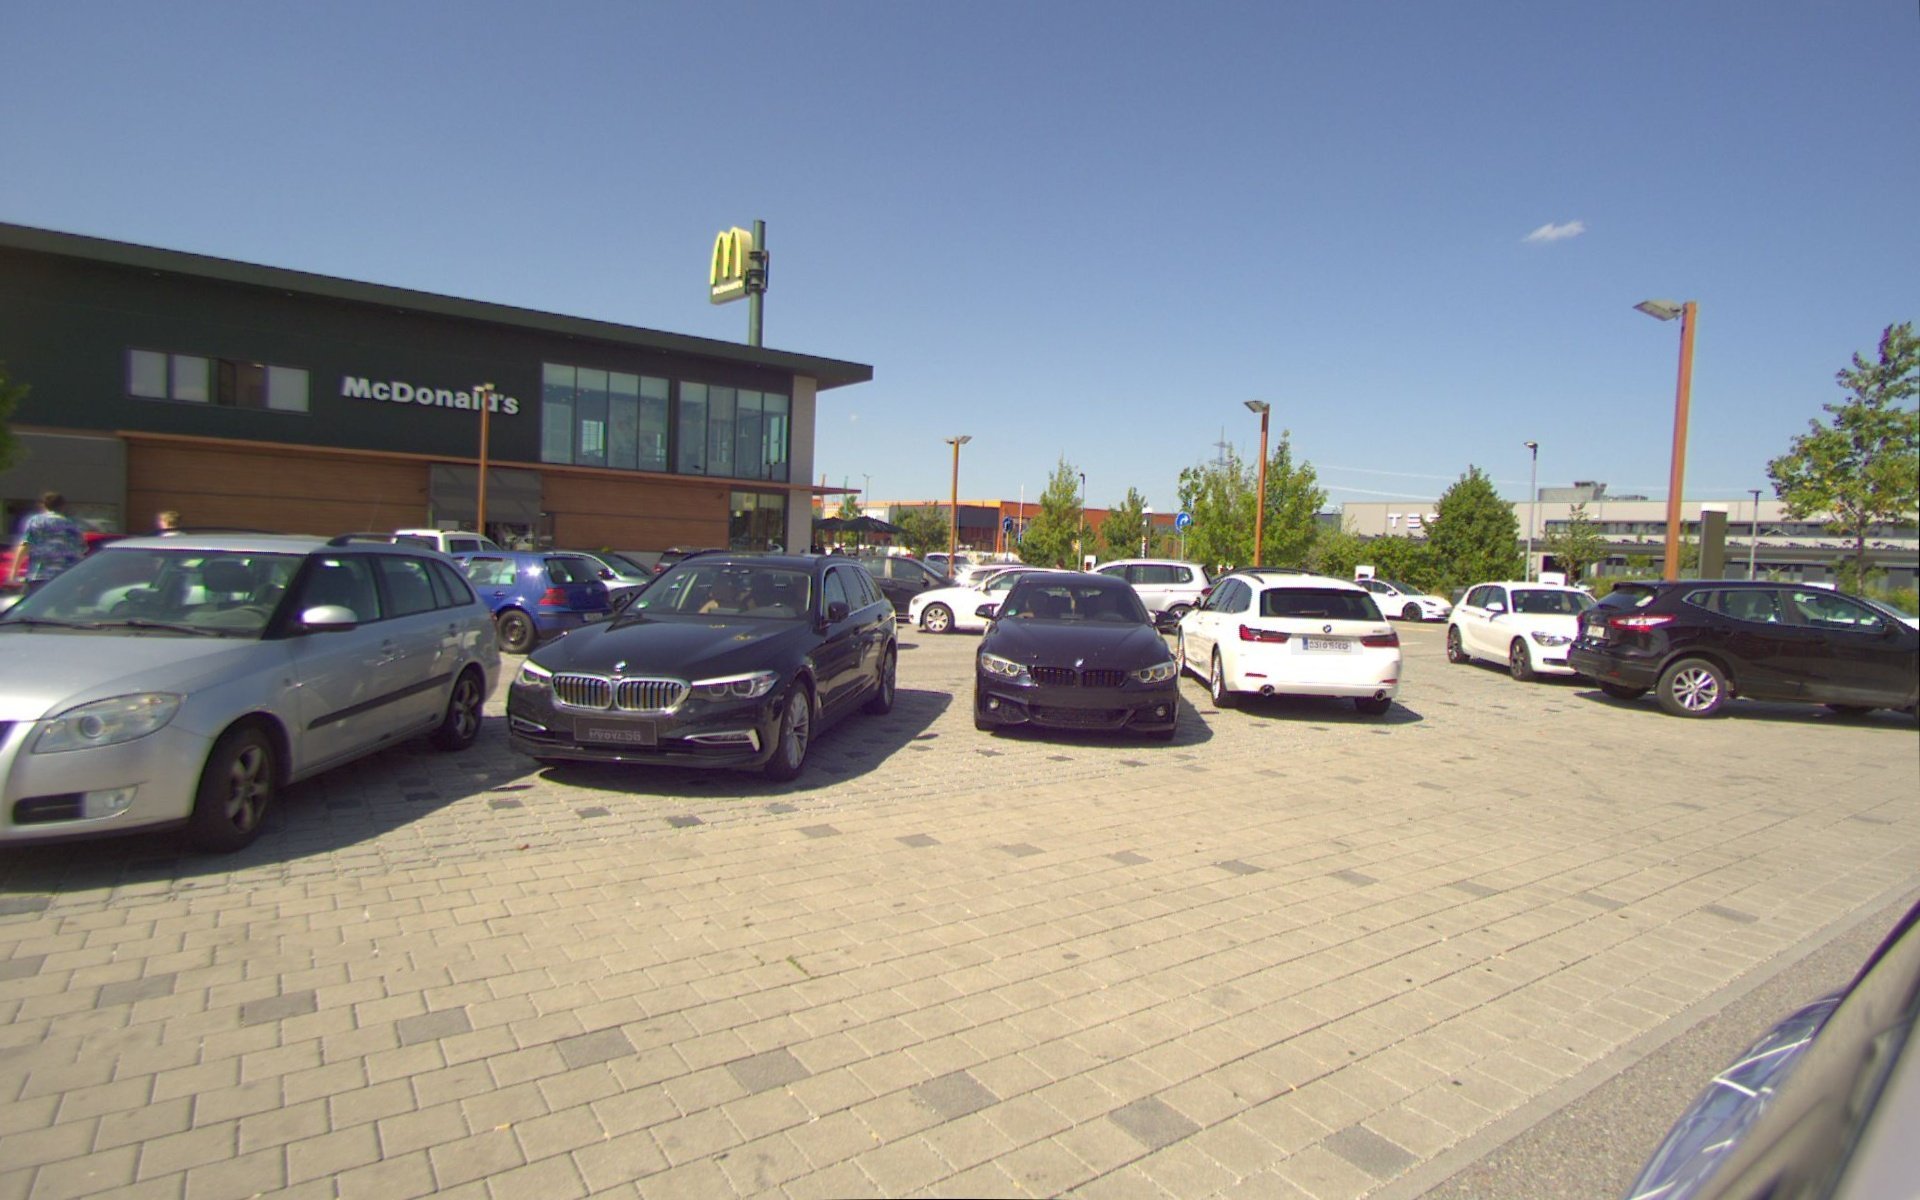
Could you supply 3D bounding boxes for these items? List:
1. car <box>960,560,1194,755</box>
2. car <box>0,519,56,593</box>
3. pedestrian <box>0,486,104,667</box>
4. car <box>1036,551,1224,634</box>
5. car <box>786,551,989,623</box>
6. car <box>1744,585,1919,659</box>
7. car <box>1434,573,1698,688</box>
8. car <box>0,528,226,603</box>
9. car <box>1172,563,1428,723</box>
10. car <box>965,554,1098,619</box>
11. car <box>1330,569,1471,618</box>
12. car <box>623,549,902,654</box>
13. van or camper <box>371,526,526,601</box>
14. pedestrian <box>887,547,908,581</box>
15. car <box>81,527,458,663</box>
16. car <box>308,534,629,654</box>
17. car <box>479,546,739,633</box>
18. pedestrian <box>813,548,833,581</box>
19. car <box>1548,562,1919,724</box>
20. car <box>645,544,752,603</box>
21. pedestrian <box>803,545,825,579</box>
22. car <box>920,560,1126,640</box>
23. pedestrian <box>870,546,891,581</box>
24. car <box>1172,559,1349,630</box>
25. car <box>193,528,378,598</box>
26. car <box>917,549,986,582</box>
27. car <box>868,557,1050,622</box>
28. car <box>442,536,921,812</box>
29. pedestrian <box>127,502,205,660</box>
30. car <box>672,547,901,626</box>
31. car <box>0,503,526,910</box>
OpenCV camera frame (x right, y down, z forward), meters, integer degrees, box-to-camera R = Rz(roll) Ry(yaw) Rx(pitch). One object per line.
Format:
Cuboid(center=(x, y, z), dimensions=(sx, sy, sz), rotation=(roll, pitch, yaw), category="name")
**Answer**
Cuboid(center=(1.093, 0.377, 10.211), dimensions=(1.804, 1.477, 4.366), rotation=(2, 2, 5), category="car")
Cuboid(center=(-21.813, -0.951, 21.022), dimensions=(1.927, 1.622, 4.464), rotation=(2, 2, 4), category="car")
Cuboid(center=(-9.997, -0.264, 11.036), dimensions=(0.765, 1.872, 0.824), rotation=(3, 2, 33), category="pedestrian")
Cuboid(center=(3.881, -0.214, 23.260), dimensions=(4.049, 1.694, 1.808), rotation=(2, 2, 11), category="car")
Cuboid(center=(-1.710, -0.362, 24.483), dimensions=(4.571, 1.505, 1.891), rotation=(2, 3, 11), category="car")
Cuboid(center=(22.963, 0.530, 25.642), dimensions=(1.809, 1.612, 4.574), rotation=(0, 3, -39), category="car")
Cuboid(center=(9.298, 0.364, 16.008), dimensions=(1.941, 1.477, 4.201), rotation=(2, 2, 6), category="car")
Cuboid(center=(-19.015, -0.787, 22.639), dimensions=(1.926, 1.483, 4.468), rotation=(2, 2, 1), category="car")
Cuboid(center=(3.743, 0.329, 12.030), dimensions=(1.804, 1.477, 4.579), rotation=(2, 2, 5), category="car")
Cuboid(center=(2.144, -0.440, 30.697), dimensions=(3.886, 1.797, 1.653), rotation=(2, 2, 3), category="car")
Cuboid(center=(15.789, -0.266, 36.516), dimensions=(1.807, 1.497, 4.335), rotation=(1, 3, -34), category="car")
Cuboid(center=(-3.230, -0.036, 16.883), dimensions=(4.212, 1.505, 1.808), rotation=(2, 3, 11), category="car")
Cuboid(center=(-13.322, -0.958, 26.642), dimensions=(1.682, 1.797, 4.022), rotation=(2, 2, 7), category="van or camper")
Cuboid(center=(-2.993, -1.723, 48.172), dimensions=(0.688, 1.578, 0.722), rotation=(0, 2, -35), category="pedestrian")
Cuboid(center=(-8.907, -0.118, 13.174), dimensions=(4.049, 1.511, 1.707), rotation=(2, 2, 11), category="car")
Cuboid(center=(-7.263, -0.145, 15.102), dimensions=(4.049, 1.533, 1.808), rotation=(2, 3, 11), category="car")
Cuboid(center=(-6.943, -0.255, 20.193), dimensions=(4.571, 1.505, 1.891), rotation=(2, 3, 11), category="car")
Cuboid(center=(-6.727, -1.759, 49.753), dimensions=(0.695, 1.579, 0.716), rotation=(2, 2, 26), category="pedestrian")
Cuboid(center=(9.677, 0.457, 11.959), dimensions=(4.237, 1.610, 1.851), rotation=(3, 2, 12), category="car")
Cuboid(center=(-7.816, -0.817, 30.584), dimensions=(1.688, 1.632, 4.028), rotation=(2, 2, 8), category="car")
Cuboid(center=(-6.784, -1.761, 46.968), dimensions=(0.695, 1.579, 0.716), rotation=(2, 2, 26), category="pedestrian")
Cuboid(center=(1.356, -0.041, 20.988), dimensions=(4.050, 1.430, 1.808), rotation=(2, 3, 11), category="car")
Cuboid(center=(-3.712, -1.711, 47.221), dimensions=(0.688, 1.578, 0.722), rotation=(0, 2, -35), category="pedestrian")
Cuboid(center=(7.394, -0.176, 25.233), dimensions=(3.932, 1.571, 1.751), rotation=(2, 2, 8), category="car")
Cuboid(center=(-16.355, -0.913, 24.787), dimensions=(1.683, 1.533, 3.948), rotation=(-1, 2, 4), category="car")
Cuboid(center=(-0.471, -1.801, 51.990), dimensions=(1.729, 1.581, 3.888), rotation=(1, 2, -32), category="car")
Cuboid(center=(0.003, -0.333, 26.988), dimensions=(4.571, 1.505, 1.891), rotation=(2, 3, 11), category="car")
Cuboid(center=(-1.742, 0.333, 8.200), dimensions=(1.943, 1.505, 4.772), rotation=(2, 2, 9), category="car")
Cuboid(center=(-9.294, -0.228, 11.853), dimensions=(0.542, 1.790, 0.467), rotation=(2, 1, 2), category="pedestrian")
Cuboid(center=(-3.756, -0.343, 22.221), dimensions=(4.571, 1.505, 1.891), rotation=(2, 3, 11), category="car")
Cuboid(center=(-4.340, 0.308, 5.933), dimensions=(1.937, 1.545, 4.211), rotation=(2, 2, -3), category="car")
